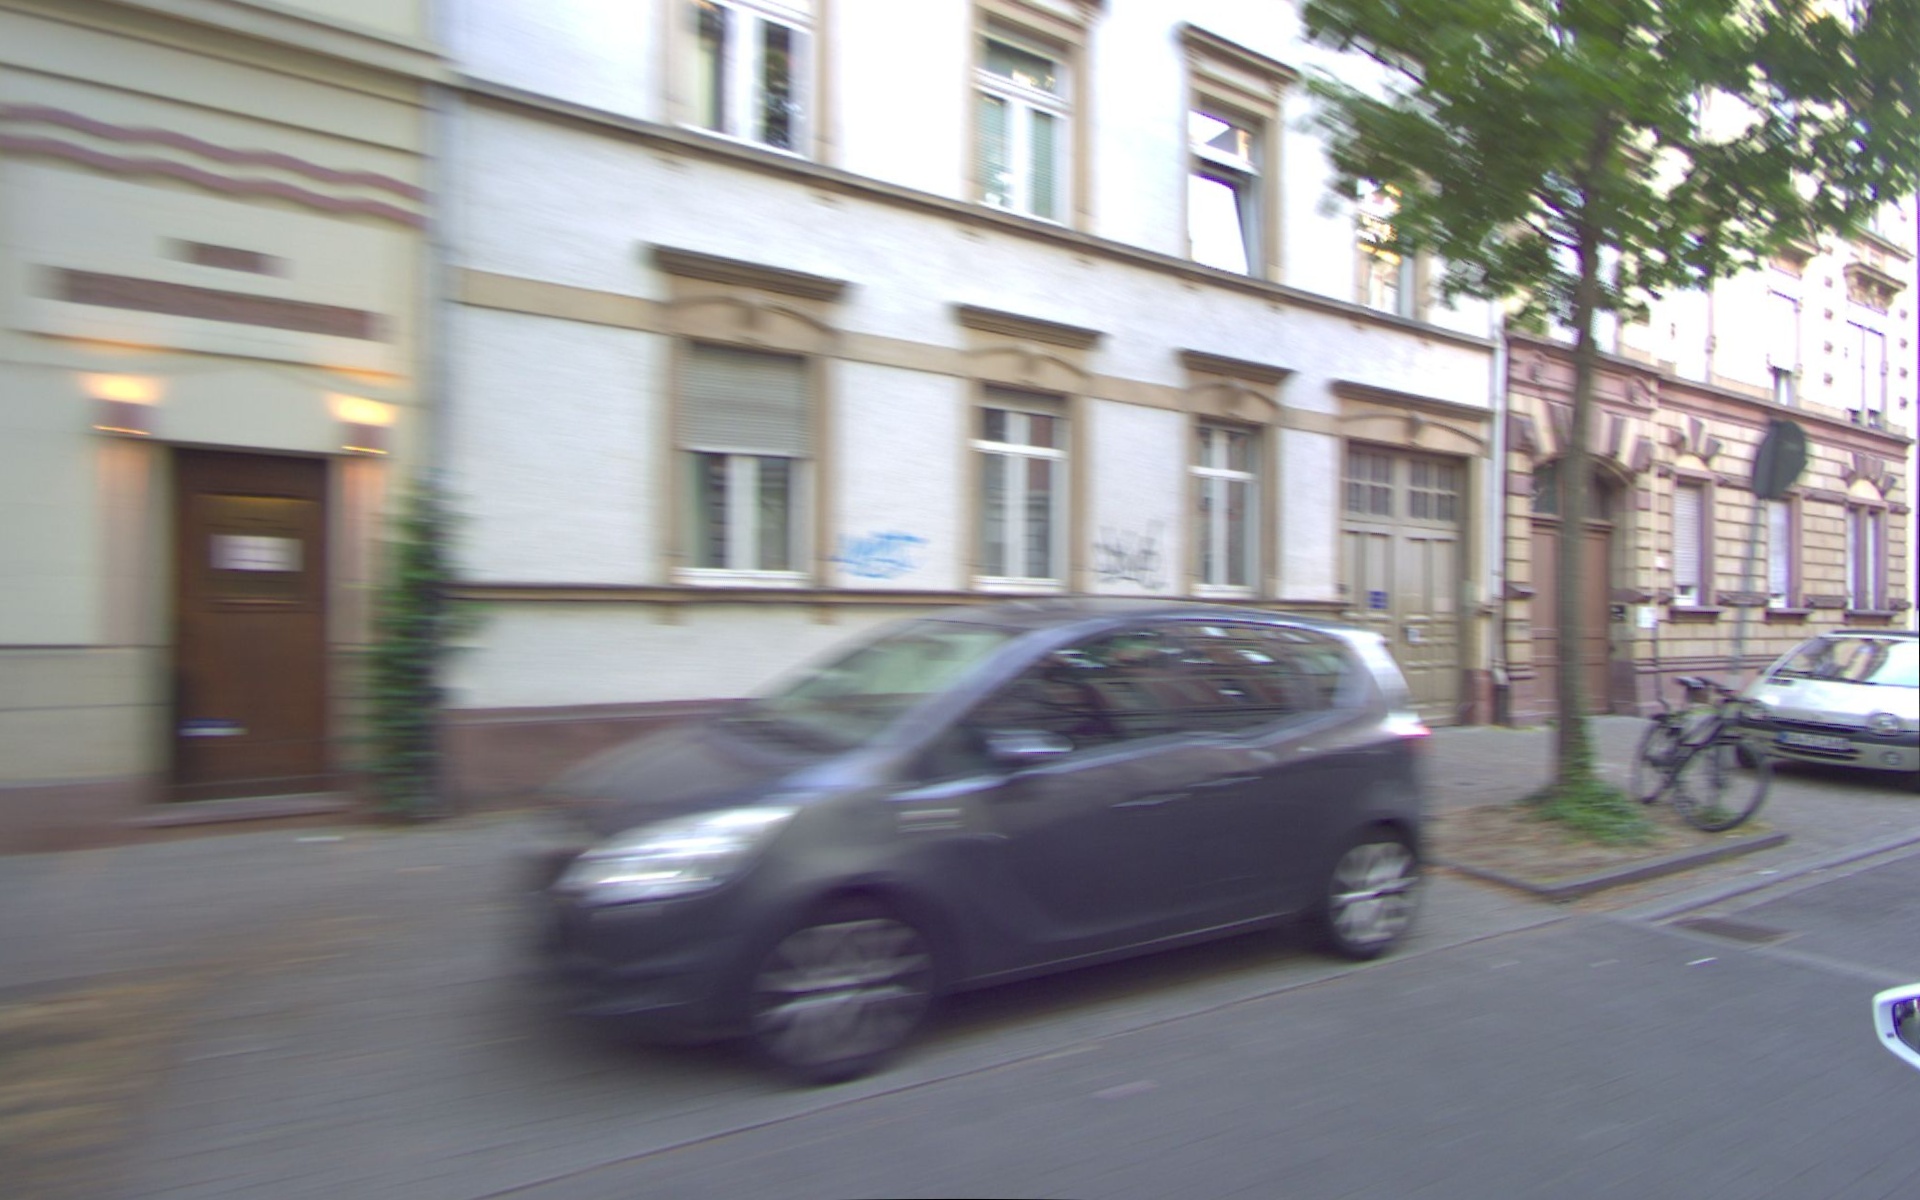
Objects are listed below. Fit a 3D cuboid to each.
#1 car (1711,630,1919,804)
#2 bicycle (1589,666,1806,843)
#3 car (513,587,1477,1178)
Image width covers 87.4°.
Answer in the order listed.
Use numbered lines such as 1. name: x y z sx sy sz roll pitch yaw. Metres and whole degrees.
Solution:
1. car: 9.529 1.087 10.415 3.525 1.456 1.579 1 0 -31
2. bicycle: 5.666 1.124 7.859 0.655 1.099 1.829 2 -1 12
3. car: 0.287 0.789 4.499 4.030 1.602 1.698 1 1 -30
